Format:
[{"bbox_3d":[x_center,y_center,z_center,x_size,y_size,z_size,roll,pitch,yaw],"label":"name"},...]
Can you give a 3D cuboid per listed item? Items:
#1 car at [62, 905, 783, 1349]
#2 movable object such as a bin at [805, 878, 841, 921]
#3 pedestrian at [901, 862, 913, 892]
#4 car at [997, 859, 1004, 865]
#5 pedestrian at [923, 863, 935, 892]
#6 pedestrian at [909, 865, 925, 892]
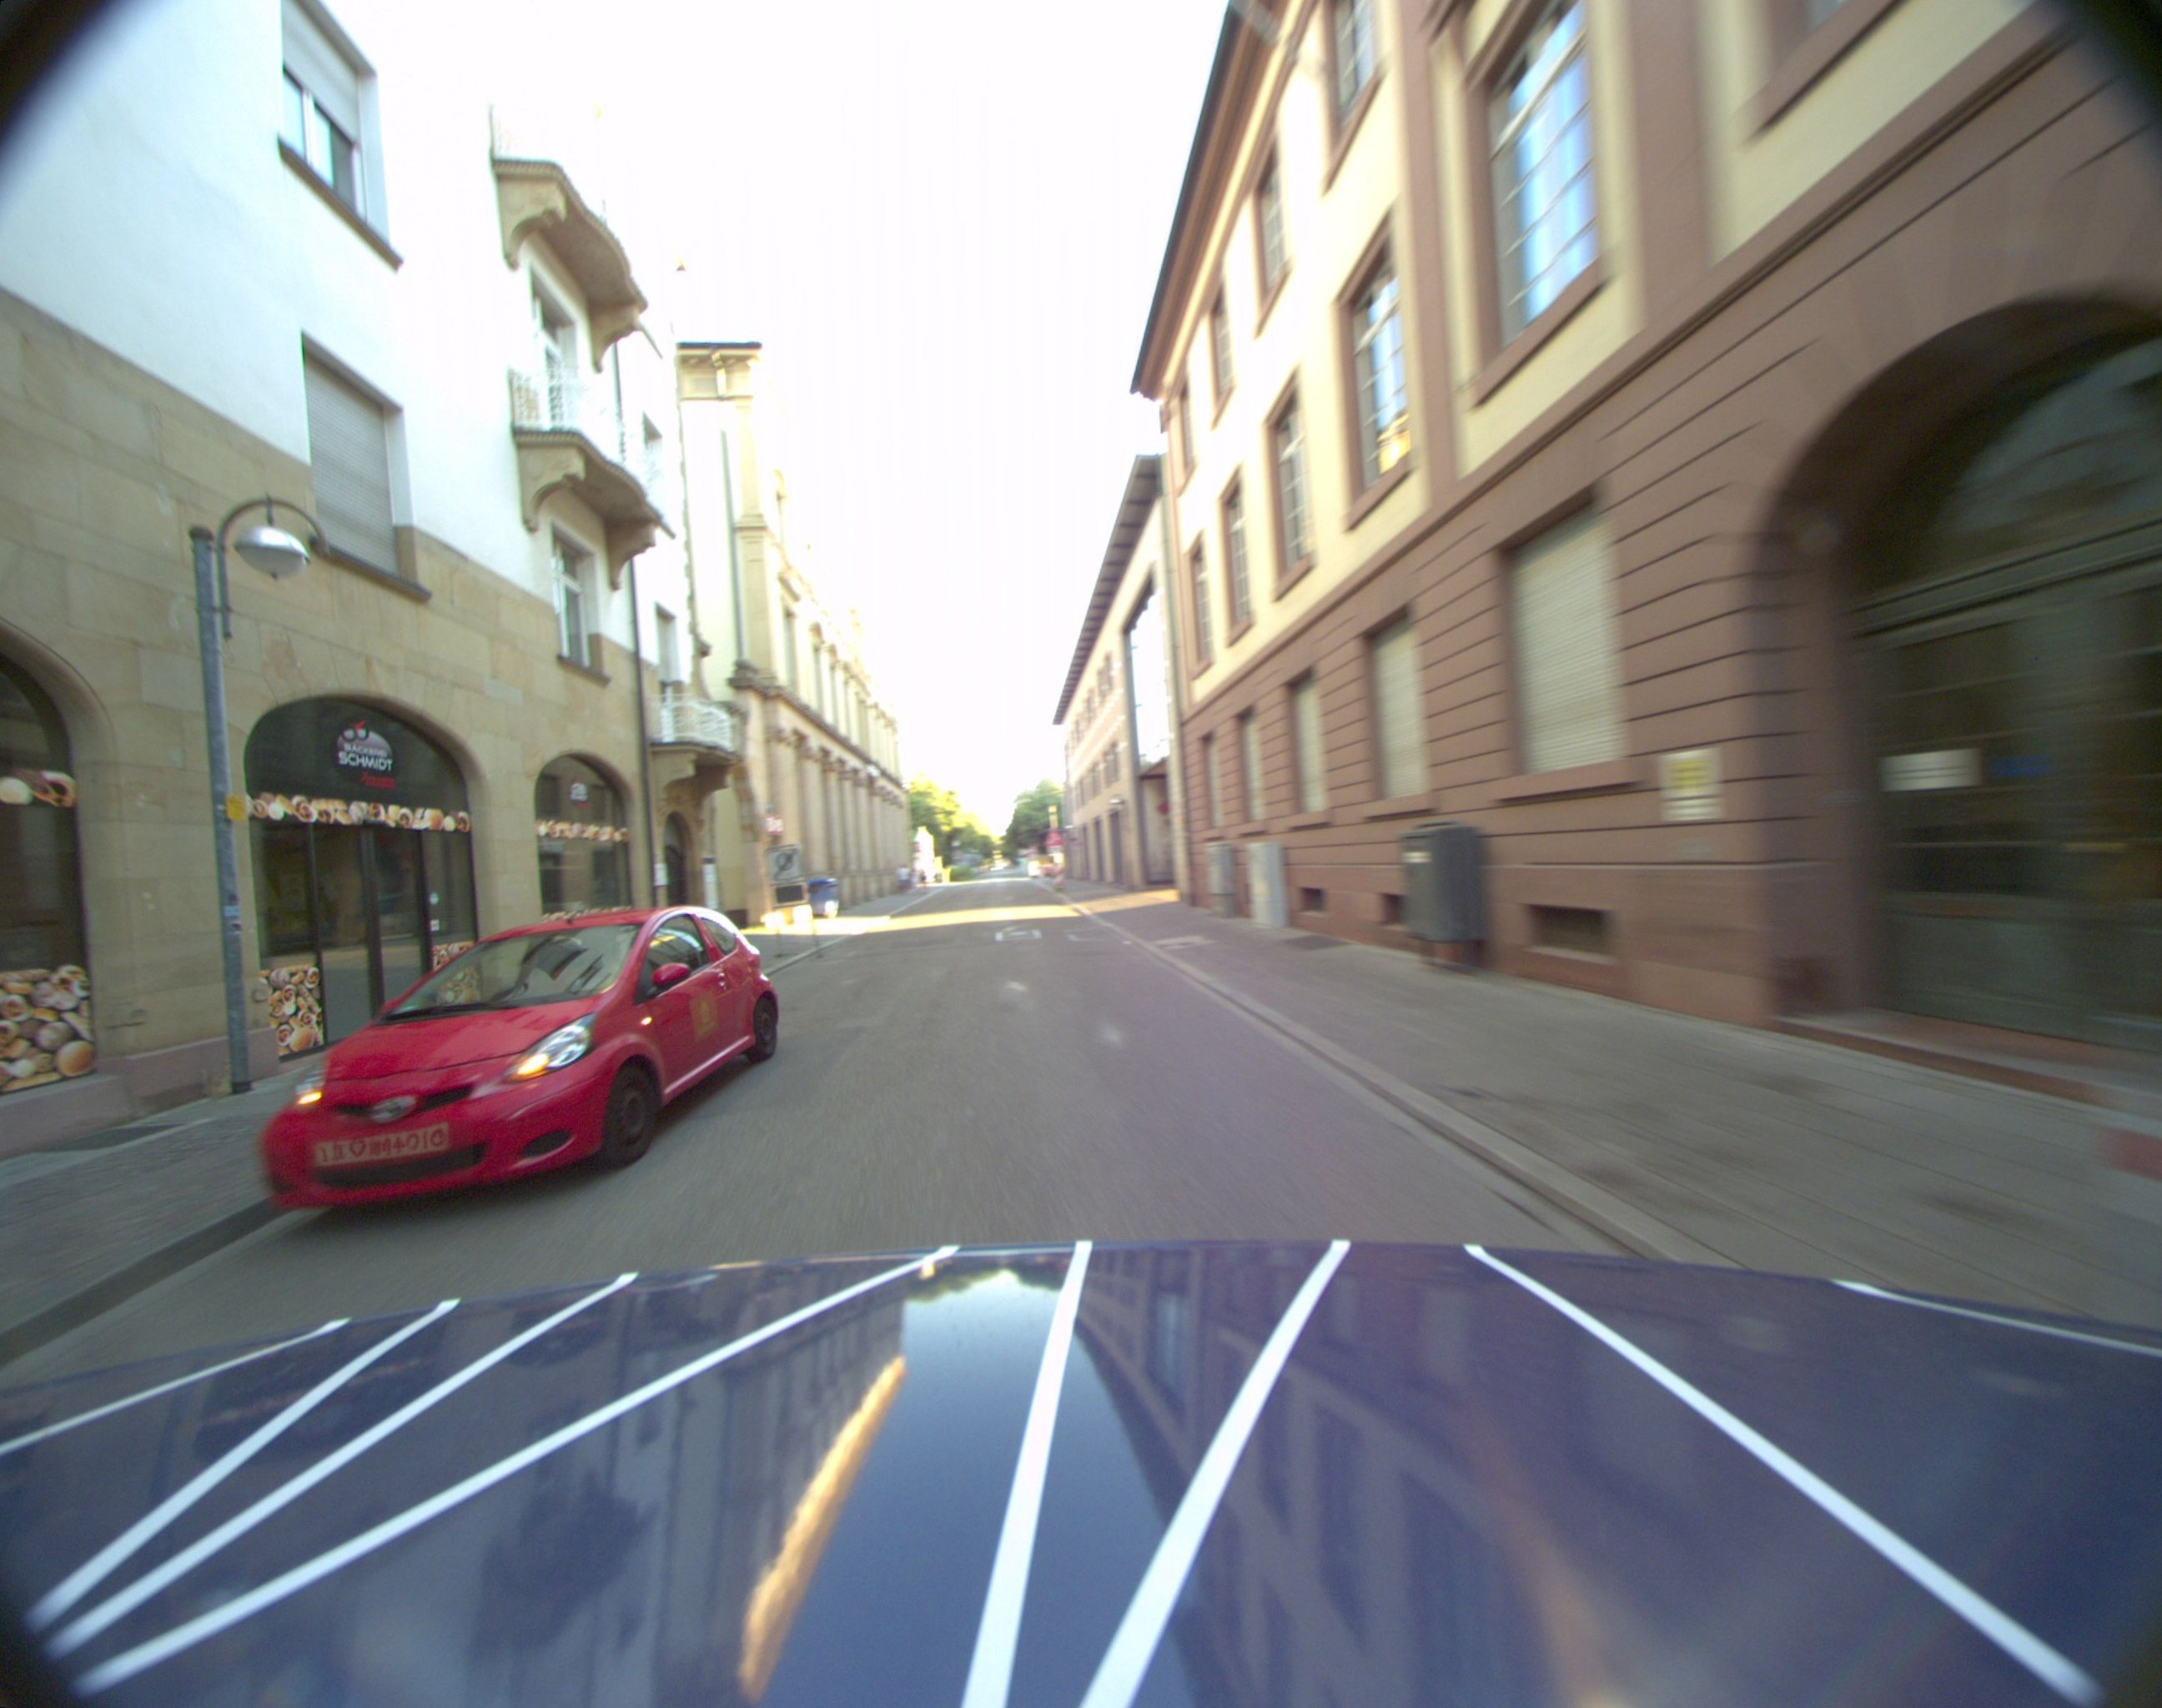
[{"bbox_3d":[-3.429,1.247,4.979,1.618,1.417,3.595,-7,1,-5],"label":"car"},{"bbox_3d":[-8.687,1.508,25.645,0.899,1.367,1.137,-1,0,-7],"label":"movable object such as a bin"},{"bbox_3d":[-10.125,1.327,44.217,0.649,1.768,0.758,-1,0,-8],"label":"pedestrian"},{"bbox_3d":[-24.204,2.469,228.234,1.859,1.519,3.998,-3,0,-5],"label":"car"},{"bbox_3d":[-8.903,1.367,44.443,0.649,1.643,0.758,-1,0,-8],"label":"pedestrian"},{"bbox_3d":[-9.884,1.468,45.741,0.856,1.589,0.923,-1,0,-8],"label":"pedestrian"}]
